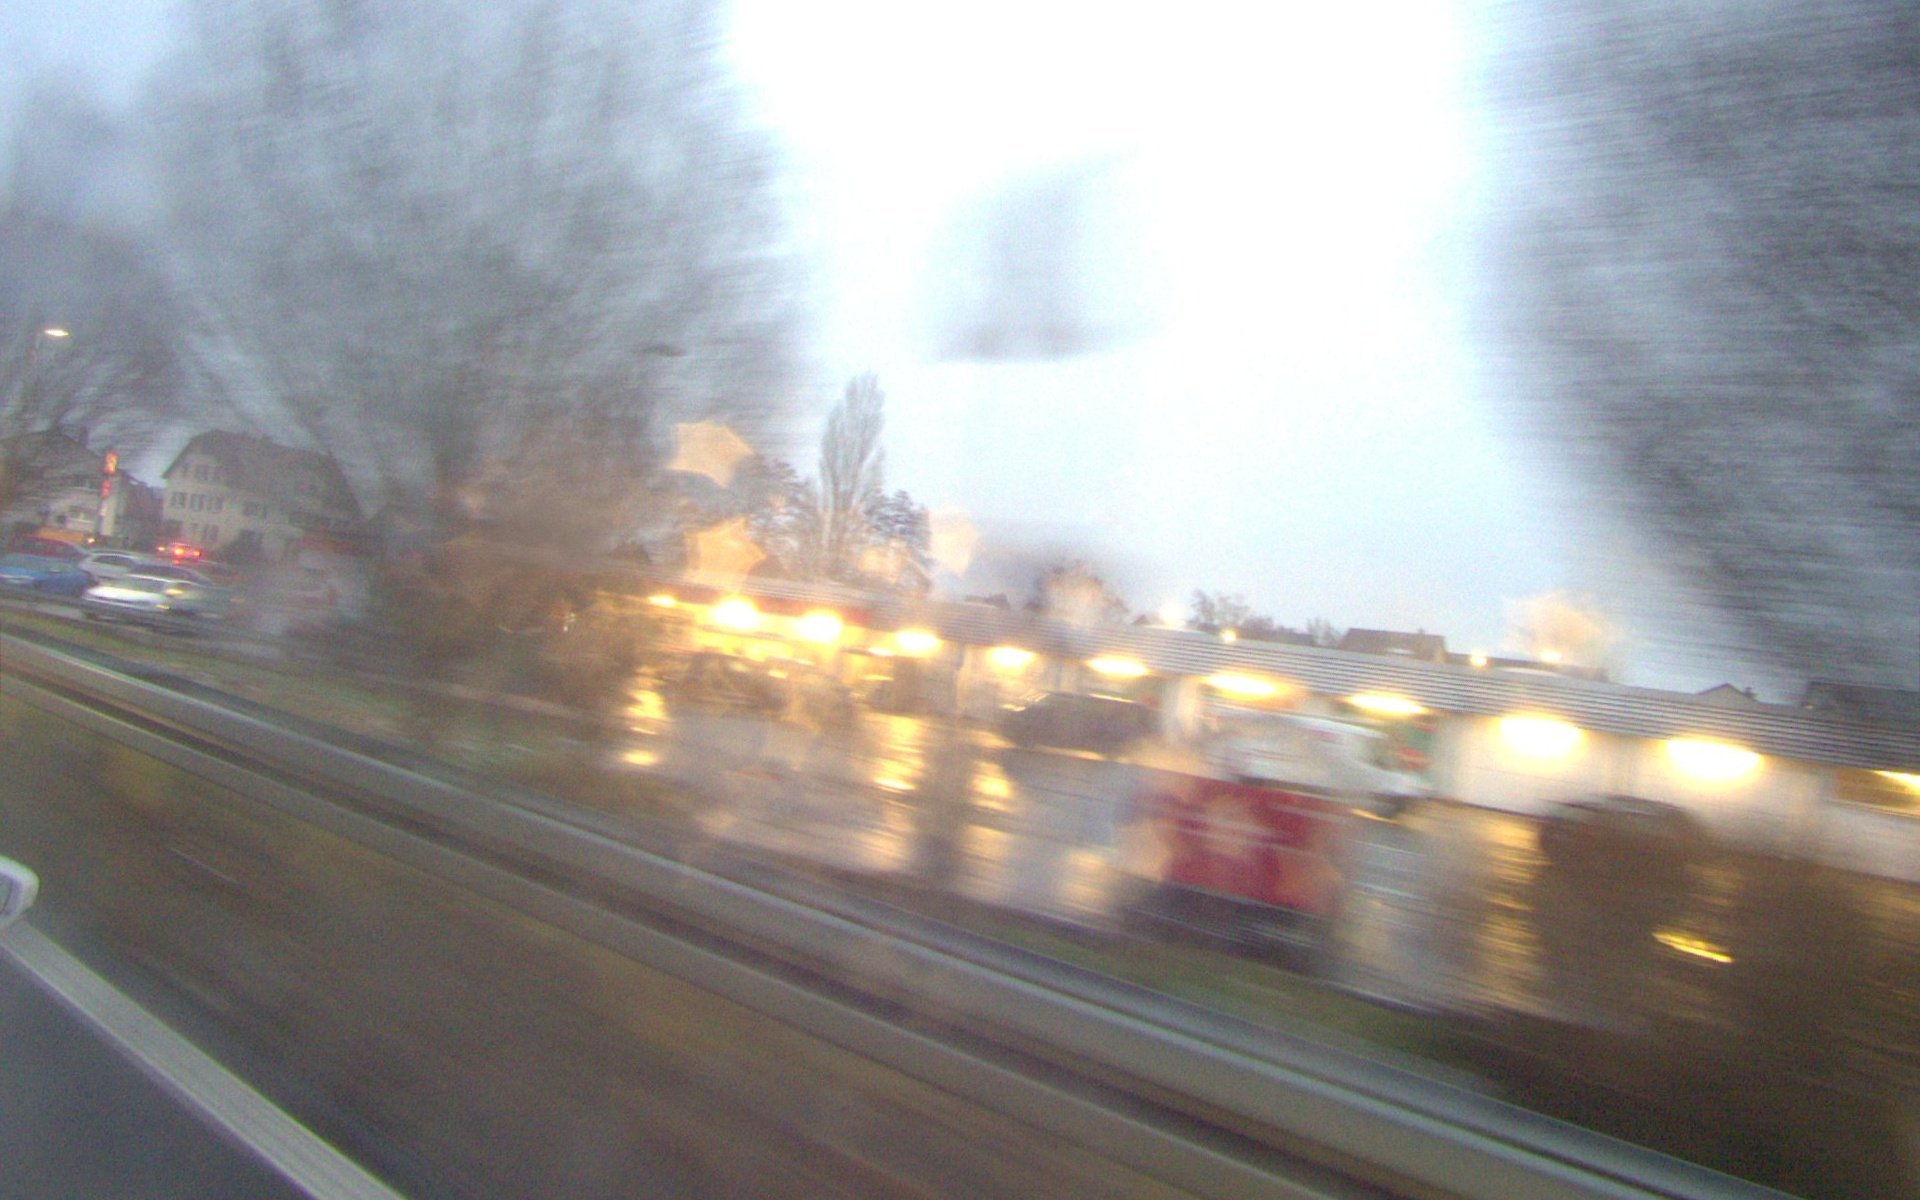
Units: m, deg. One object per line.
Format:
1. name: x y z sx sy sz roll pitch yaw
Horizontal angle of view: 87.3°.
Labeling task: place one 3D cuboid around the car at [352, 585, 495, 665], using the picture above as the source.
1. car: -19.727 0.967 37.252 4.312 2.403 2.091 8 -4 -25

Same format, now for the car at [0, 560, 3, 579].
1. car: -36.427 -0.689 35.135 1.973 2.035 3.987 3 -5 40

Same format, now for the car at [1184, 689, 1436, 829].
1. car: 8.652 3.919 24.920 5.545 2.806 2.097 7 -4 -16

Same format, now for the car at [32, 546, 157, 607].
1. car: -43.708 -1.136 50.956 4.327 2.403 2.084 9 -5 -35

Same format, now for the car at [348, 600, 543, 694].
1. car: -13.578 1.290 26.723 1.973 2.035 3.987 3 -5 40

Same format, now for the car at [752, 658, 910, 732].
1. car: -3.980 2.910 30.902 4.307 1.785 2.093 8 -4 -22

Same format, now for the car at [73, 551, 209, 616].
1. car: -38.059 -0.701 46.912 4.312 2.403 2.091 8 -4 -25

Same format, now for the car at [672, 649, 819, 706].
1. car: -6.944 2.503 32.521 4.305 1.364 2.094 7 -4 -20

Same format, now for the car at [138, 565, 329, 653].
1. car: -21.028 0.304 29.246 1.973 2.035 3.987 3 -5 40

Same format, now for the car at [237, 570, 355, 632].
1. car: -32.297 0.105 49.122 4.312 2.403 2.091 8 -4 -25

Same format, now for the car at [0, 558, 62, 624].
1. car: -33.086 -0.456 33.763 1.973 2.035 3.987 3 -5 40

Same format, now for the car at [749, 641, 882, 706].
1. car: -5.348 2.720 37.214 4.312 1.938 2.091 8 -4 -25

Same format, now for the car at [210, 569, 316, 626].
1. car: -36.822 -0.071 53.290 4.327 2.403 2.084 9 -5 -35

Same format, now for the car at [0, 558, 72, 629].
1. car: -30.992 -0.358 31.791 1.973 2.035 3.987 3 -5 40

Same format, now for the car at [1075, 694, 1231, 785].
1. car: 6.179 4.467 32.365 4.298 2.403 2.097 7 -4 -15

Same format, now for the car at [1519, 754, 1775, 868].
1. car: 14.331 4.386 21.050 4.298 1.781 2.097 7 -4 -15

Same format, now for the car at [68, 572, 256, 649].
1. car: -23.958 0.355 30.324 1.973 1.813 3.987 2 -5 40

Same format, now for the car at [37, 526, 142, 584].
1. car: -53.041 -2.708 61.421 4.327 2.787 2.084 9 -5 -35
